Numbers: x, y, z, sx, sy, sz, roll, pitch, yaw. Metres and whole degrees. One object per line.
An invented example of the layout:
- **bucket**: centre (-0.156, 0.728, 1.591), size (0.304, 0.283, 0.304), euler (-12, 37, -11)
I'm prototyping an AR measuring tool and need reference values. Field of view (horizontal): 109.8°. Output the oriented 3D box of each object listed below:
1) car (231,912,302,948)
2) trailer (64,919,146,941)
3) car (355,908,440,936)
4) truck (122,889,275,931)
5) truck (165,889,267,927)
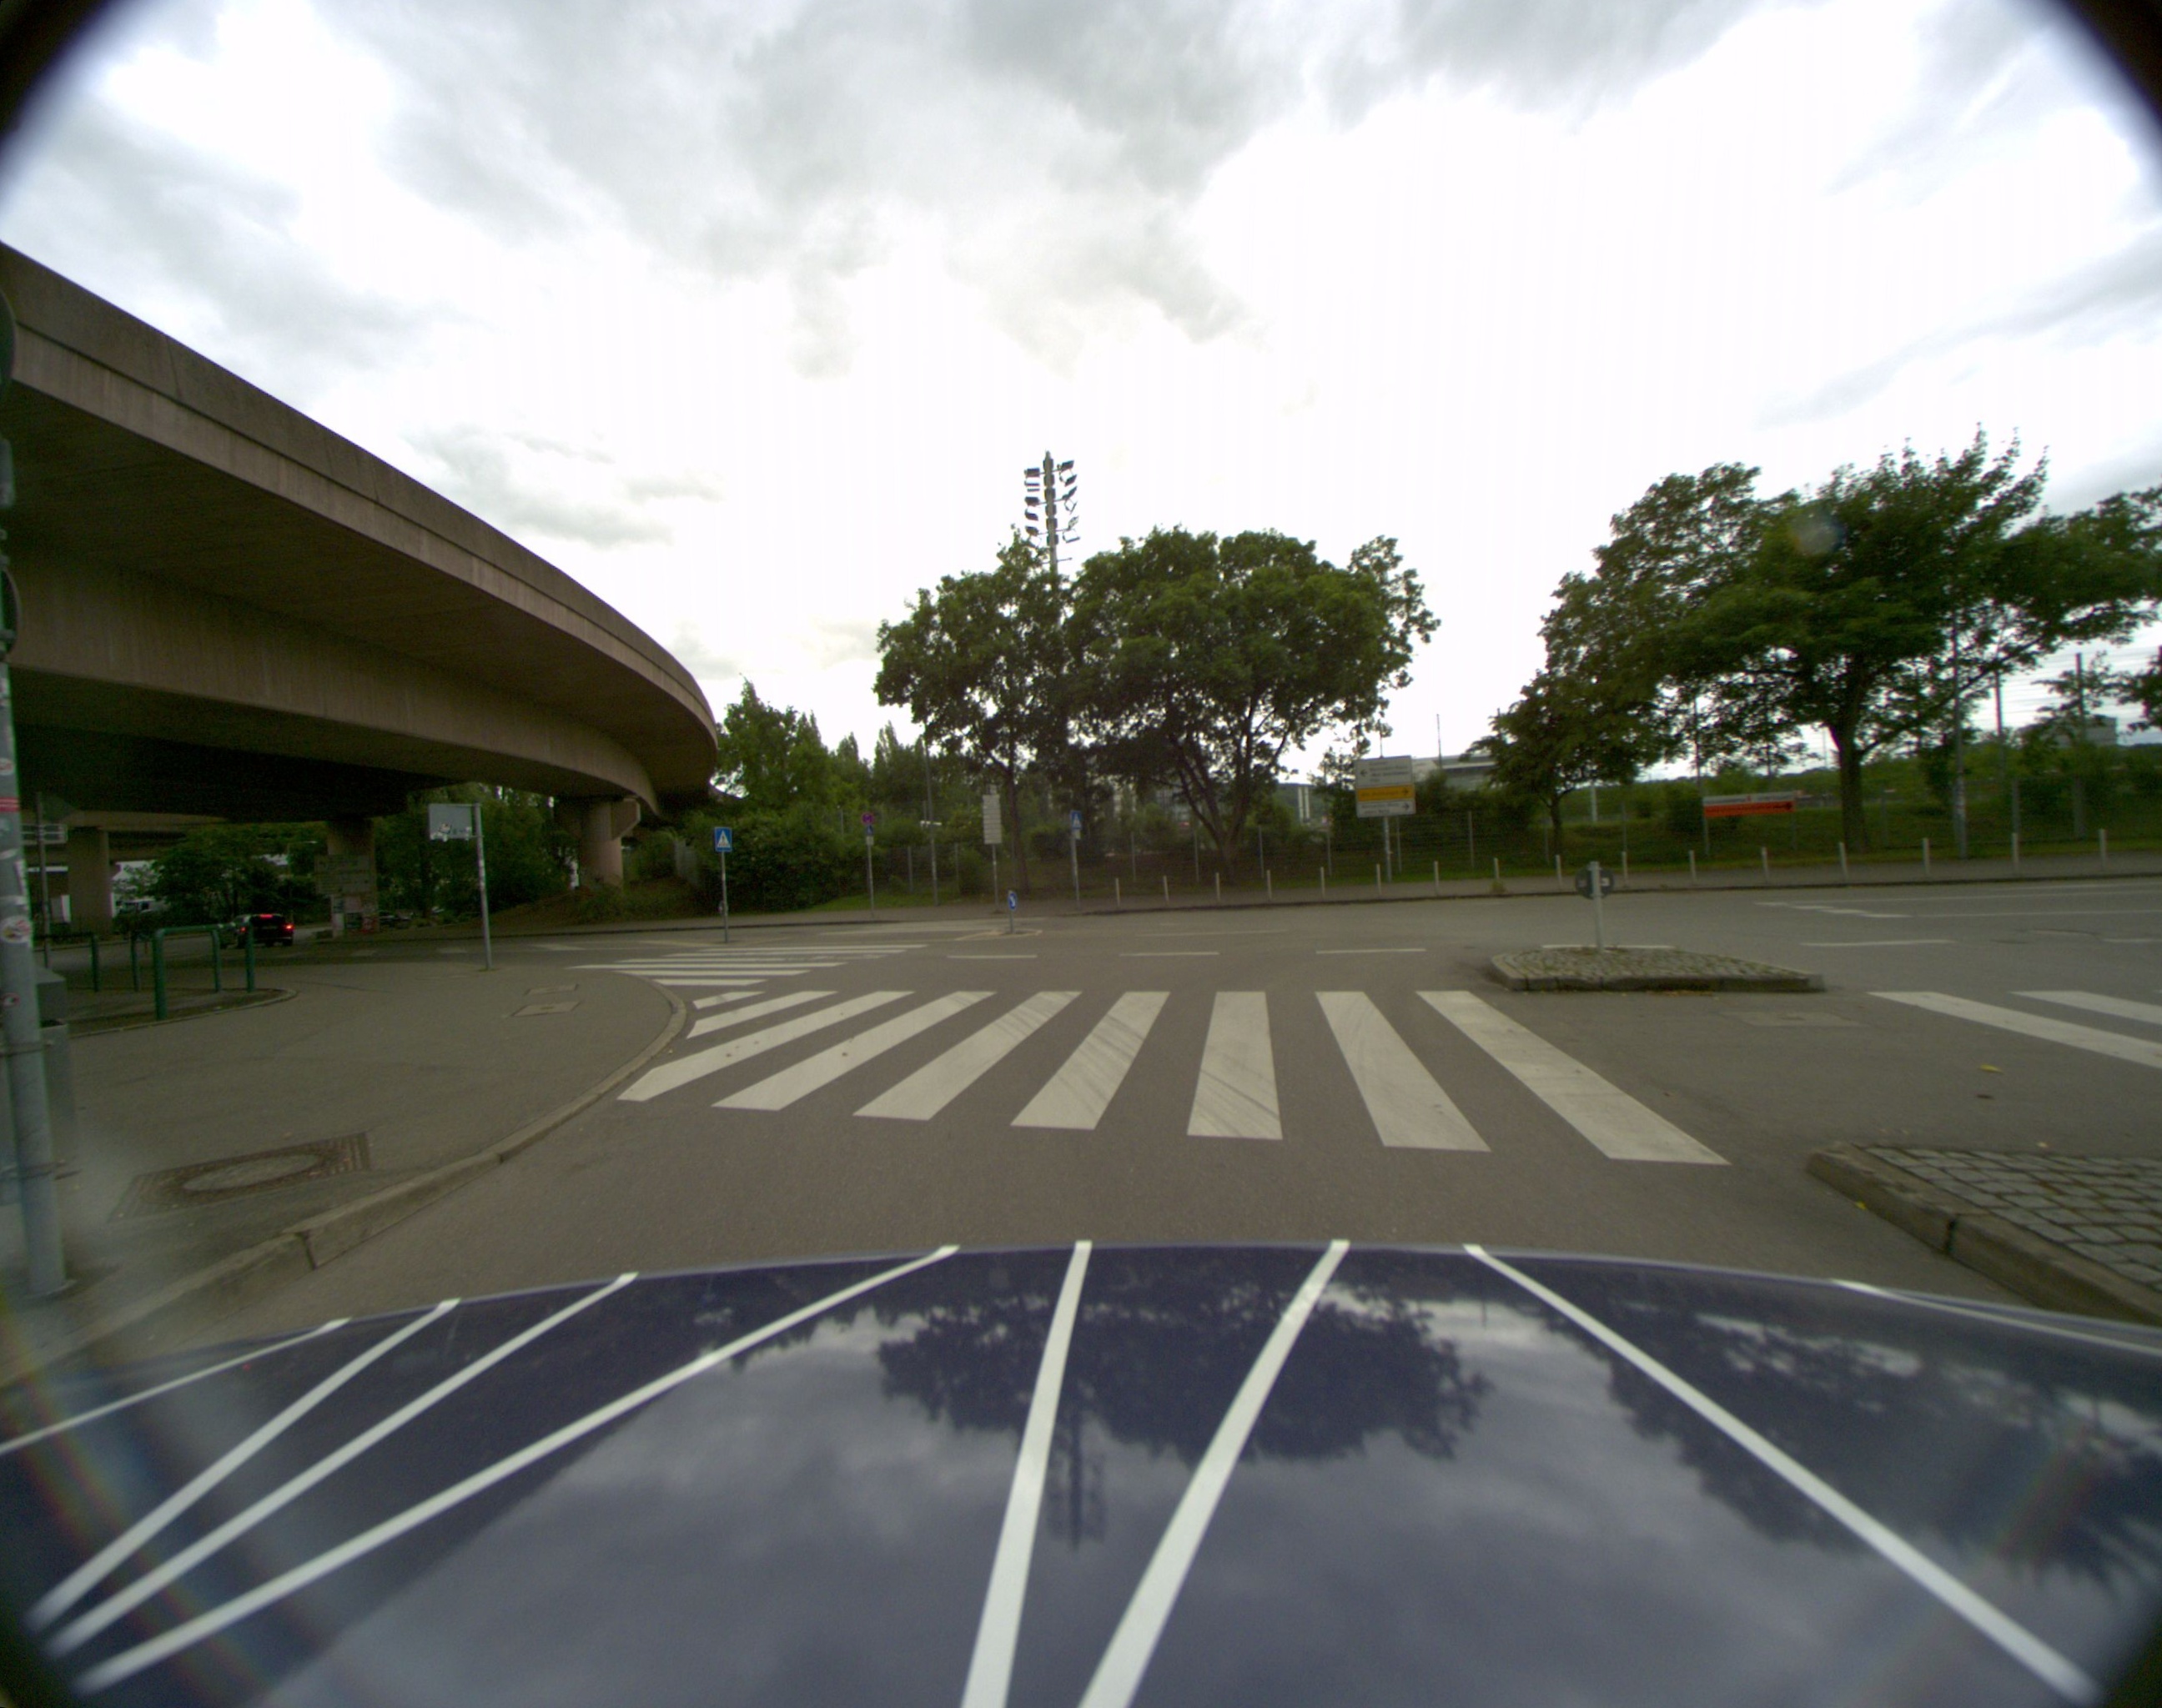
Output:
- **car**: centre (-40.960, 3.806, 38.182), size (4.538, 1.565, 1.849), euler (-4, -1, 36)
- **trailer**: centre (-80.613, 6.250, 62.863), size (1.606, 1.323, 4.379), euler (-2, 0, -10)
- **car**: centre (-47.202, 4.668, 52.656), size (1.828, 1.422, 4.772), euler (-5, 0, -6)
- **truck**: centre (-91.019, 5.687, 78.798), size (2.266, 3.477, 10.229), euler (-2, 0, 16)
- **truck**: centre (-87.830, 5.389, 77.297), size (2.266, 3.388, 6.421), euler (-2, 0, 19)
